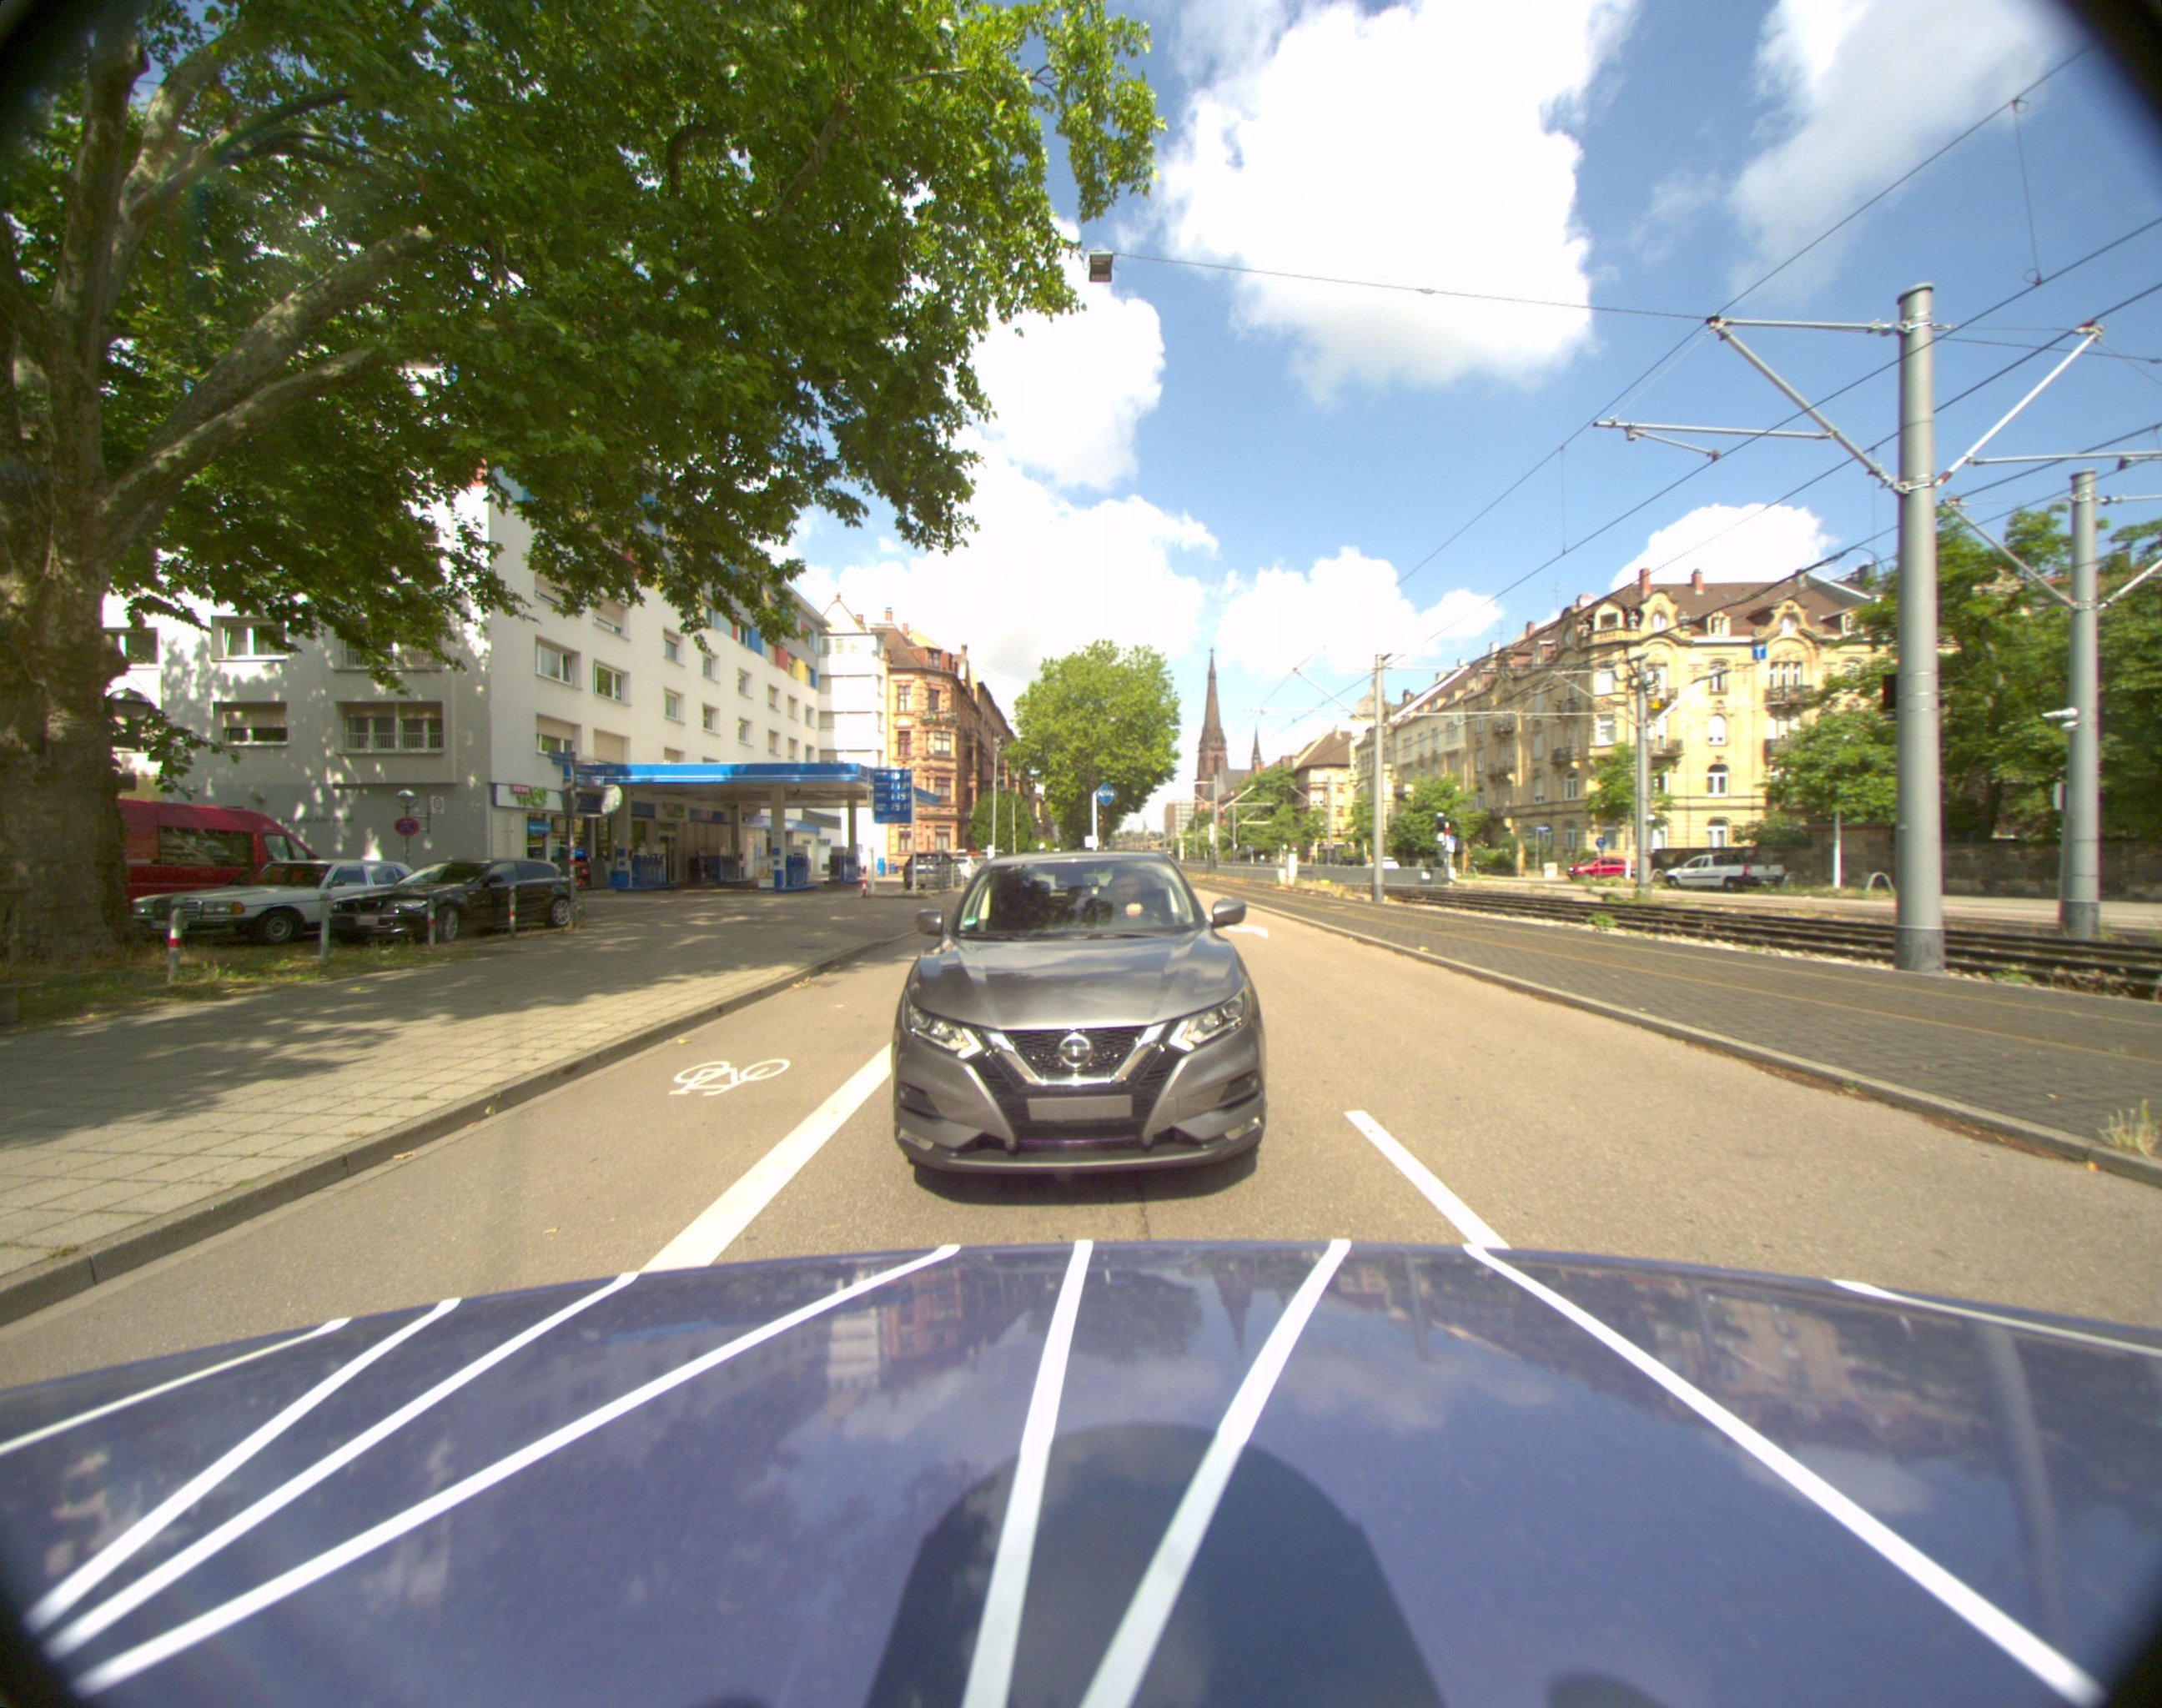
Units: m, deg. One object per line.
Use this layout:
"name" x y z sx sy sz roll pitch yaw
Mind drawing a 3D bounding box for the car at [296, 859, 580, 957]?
"car" -11.143 0.842 13.620 1.653 1.461 4.042 0 0 0

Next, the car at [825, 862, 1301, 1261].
"car" -0.029 0.815 5.165 1.800 1.454 4.567 0 0 1

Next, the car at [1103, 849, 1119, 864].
"car" 3.201 0.236 81.647 1.557 1.476 3.858 2 0 0

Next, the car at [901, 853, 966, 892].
"car" -6.417 0.759 33.523 1.810 1.593 4.583 -1 0 2

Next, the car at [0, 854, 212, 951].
"car" -19.290 0.852 13.587 2.011 1.641 4.653 -2 0 2

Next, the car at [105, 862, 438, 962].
"car" -13.850 0.891 13.421 1.653 1.461 4.042 0 0 -3

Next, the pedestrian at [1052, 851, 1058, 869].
"pedestrian" -2.682 0.621 77.790 0.565 1.776 0.630 0 1 0

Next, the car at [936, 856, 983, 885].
"car" -6.433 0.834 40.634 1.810 1.447 4.001 -1 0 0

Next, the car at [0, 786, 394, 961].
"car" -16.696 0.290 14.162 2.116 2.567 6.020 0 0 2

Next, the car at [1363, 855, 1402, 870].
"car" 27.157 0.722 68.512 1.756 1.320 4.312 0 0 -1

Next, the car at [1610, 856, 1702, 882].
"car" 33.124 0.863 43.829 3.972 1.455 1.723 0 0 1

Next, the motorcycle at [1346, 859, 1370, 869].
"motorcycle" 27.116 0.957 74.470 1.765 0.936 1.417 1 0 -1

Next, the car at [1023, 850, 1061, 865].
"car" -5.048 0.470 98.334 4.735 1.772 2.004 -2 1 -7

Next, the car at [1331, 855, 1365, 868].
"car" 27.126 0.749 77.319 2.025 1.319 4.100 0 0 -2

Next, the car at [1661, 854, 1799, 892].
"car" 26.907 0.740 31.719 1.936 1.495 4.413 0 0 -1

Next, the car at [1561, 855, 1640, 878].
"car" 33.817 0.799 49.549 3.788 1.455 1.933 0 0 4
